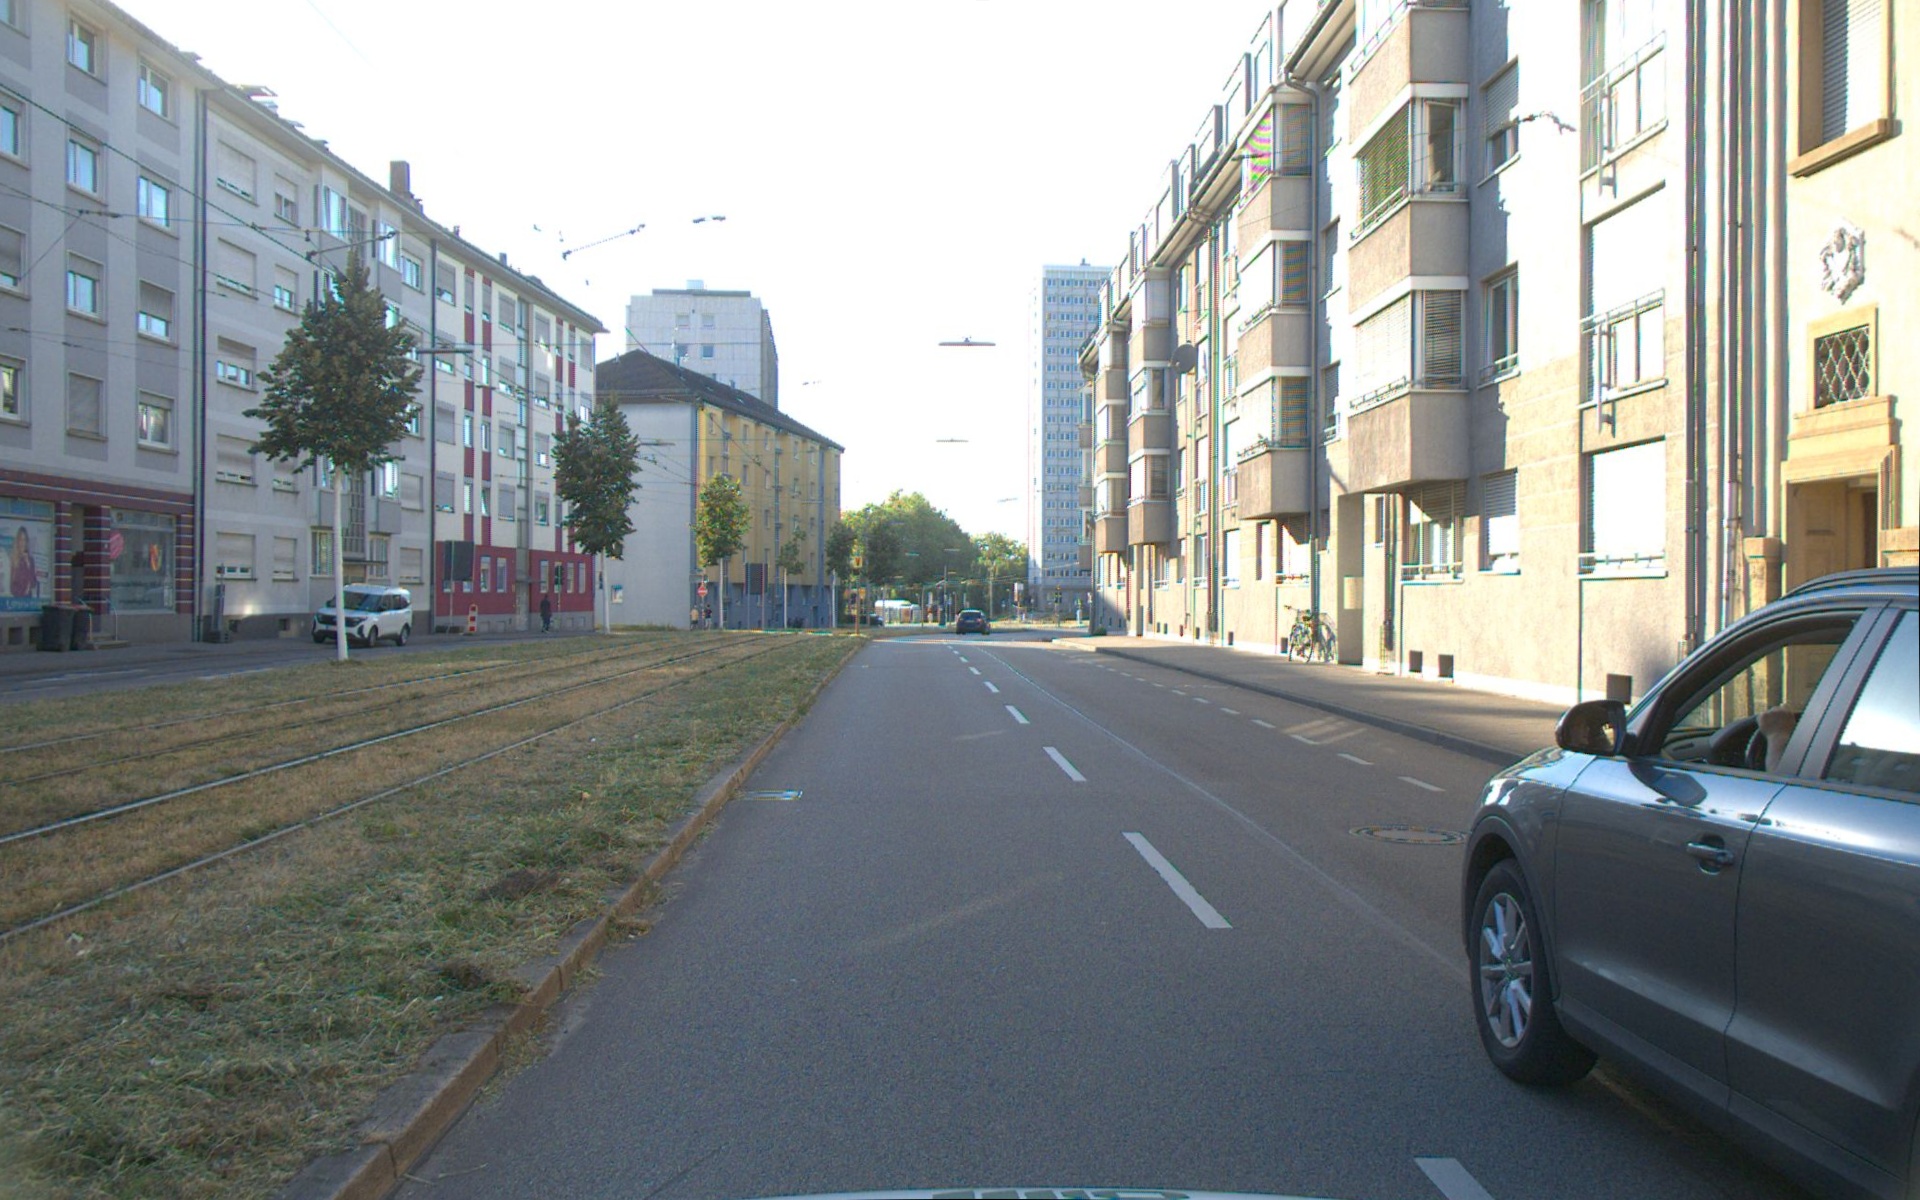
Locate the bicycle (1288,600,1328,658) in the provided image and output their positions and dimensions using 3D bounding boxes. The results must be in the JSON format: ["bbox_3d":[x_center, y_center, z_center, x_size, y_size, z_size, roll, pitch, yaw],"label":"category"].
[{"bbox_3d":[6.906,0.569,32.841,0.376,1.115,1.503,-1,-1,-3],"label":"bicycle"}]

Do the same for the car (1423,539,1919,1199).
[{"bbox_3d":[2.591,0.704,3.912,1.663,1.580,4.223,1,-1,-2],"label":"car"}]

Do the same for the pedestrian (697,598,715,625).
[{"bbox_3d":[-16.293,0.744,106.088,0.942,1.699,1.011,1,-1,4],"label":"pedestrian"}]

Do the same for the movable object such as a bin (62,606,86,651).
[{"bbox_3d":[-20.734,0.668,38.717,0.292,1.055,0.441,1,-1,-3],"label":"movable object such as a bin"}]

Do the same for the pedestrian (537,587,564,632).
[{"bbox_3d":[-19.338,0.443,78.151,0.984,2.071,0.886,1,-1,3],"label":"pedestrian"}]

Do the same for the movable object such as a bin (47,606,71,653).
[{"bbox_3d":[-20.738,0.674,38.078,0.292,1.055,0.441,1,-1,-3],"label":"movable object such as a bin"}]

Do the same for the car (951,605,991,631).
[{"bbox_3d":[0.688,1.058,99.380,1.885,1.481,4.330,1,-1,6],"label":"car"}]

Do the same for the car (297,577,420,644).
[{"bbox_3d":[-18.667,0.332,51.559,1.952,1.958,4.543,1,-1,2],"label":"car"}]

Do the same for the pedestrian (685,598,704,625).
[{"bbox_3d":[-17.022,0.723,106.171,0.942,1.723,1.011,1,-1,4],"label":"pedestrian"}]
